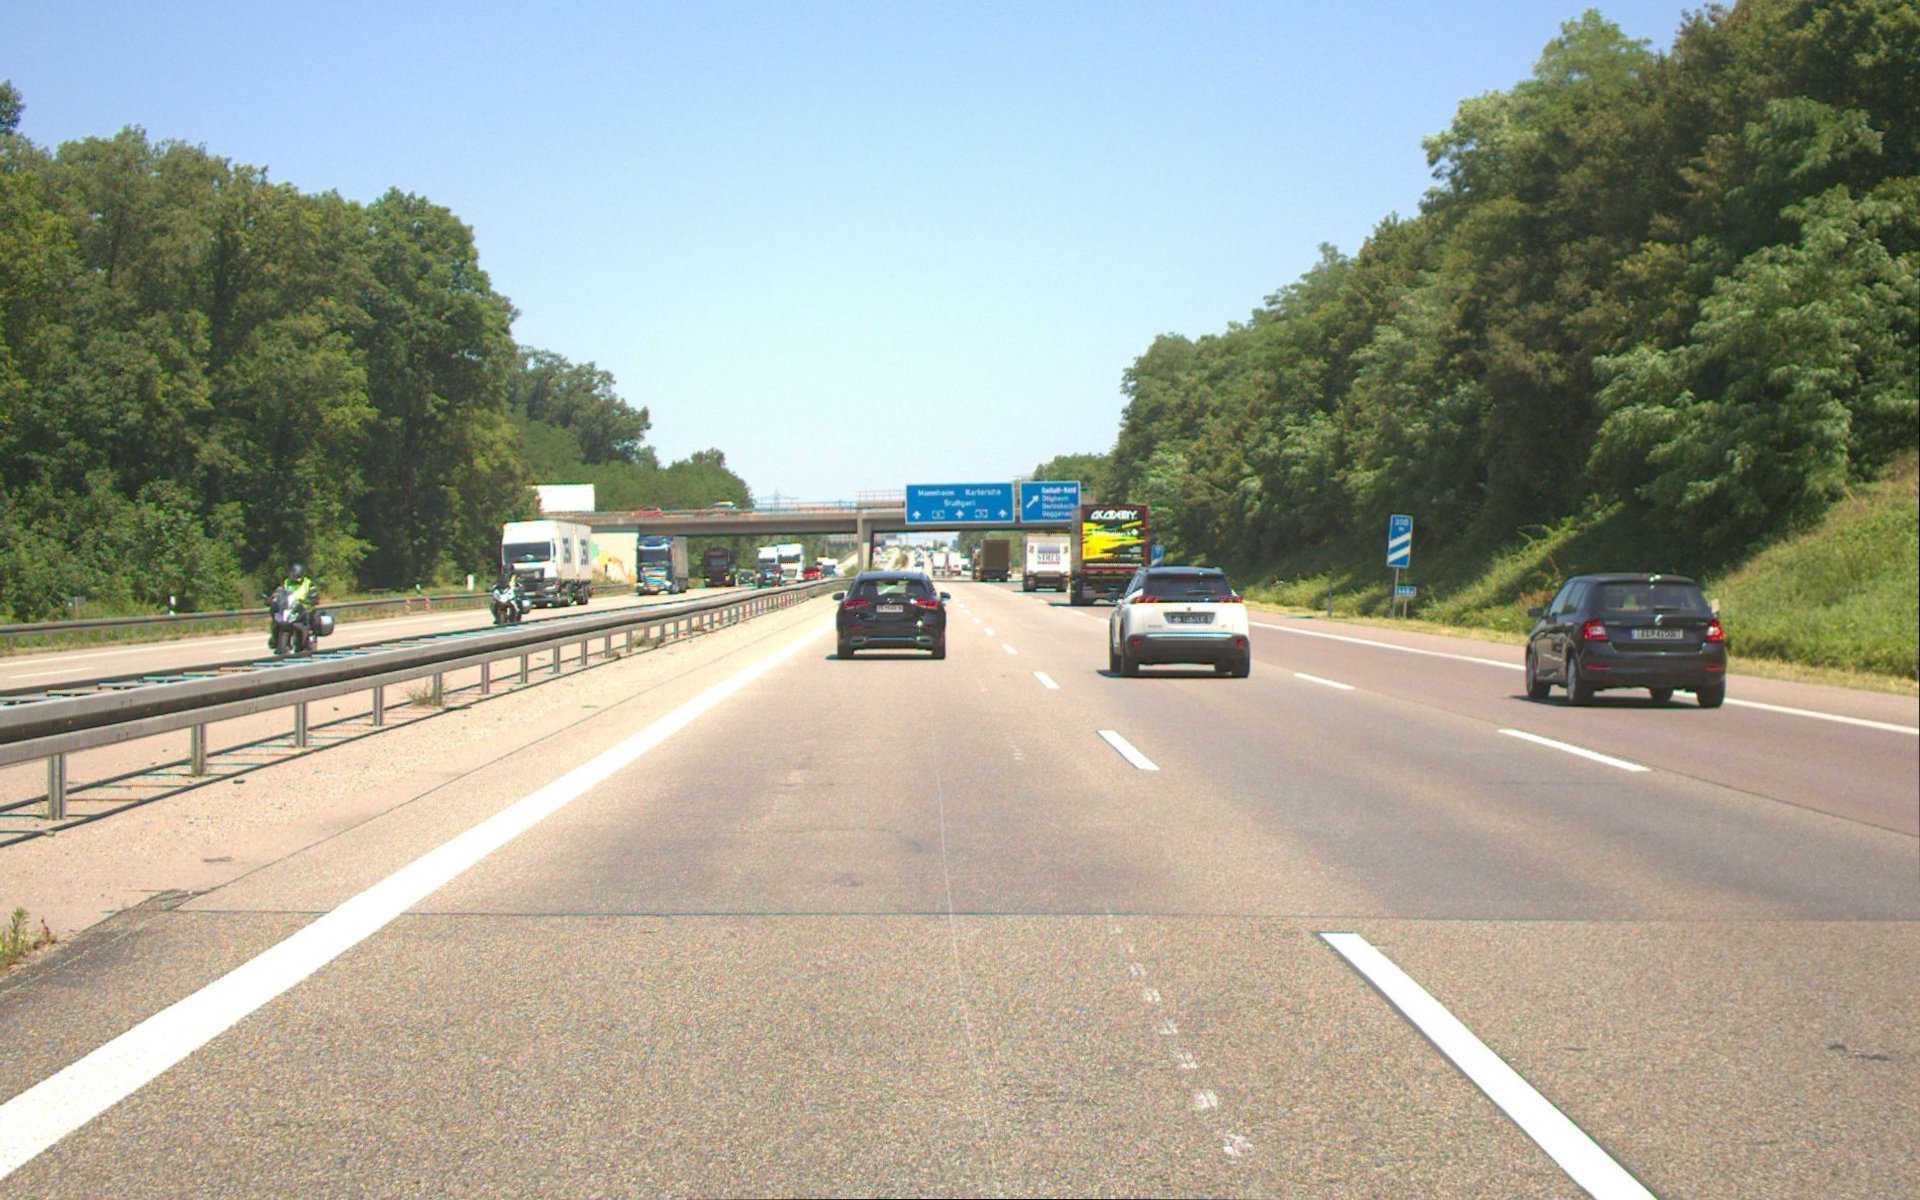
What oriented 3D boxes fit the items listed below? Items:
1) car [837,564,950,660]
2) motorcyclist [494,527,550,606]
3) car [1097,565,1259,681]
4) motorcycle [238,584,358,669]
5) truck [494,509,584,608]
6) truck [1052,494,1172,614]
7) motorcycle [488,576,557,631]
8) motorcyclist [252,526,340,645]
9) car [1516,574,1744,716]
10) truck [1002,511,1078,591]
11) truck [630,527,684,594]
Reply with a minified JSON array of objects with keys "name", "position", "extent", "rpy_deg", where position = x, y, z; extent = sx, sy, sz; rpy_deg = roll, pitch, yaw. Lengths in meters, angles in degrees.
[{"name":"car","position":[-1.126,0.174,57.195],"extent":[1.799,1.497,4.242],"rpy_deg":[0,1,-2]},{"name":"motorcyclist","position":[-10.273,-0.783,80.674],"extent":[1.152,1.809,1.027],"rpy_deg":[-1,0,-1]},{"name":"car","position":[3.029,0.294,48.617],"extent":[1.899,1.527,4.242],"rpy_deg":[0,1,-2]},{"name":"motorcycle","position":[-10.322,0.391,53.785],"extent":[1.153,1.245,3.810],"rpy_deg":[-1,1,-1]},{"name":"truck","position":[-19.975,-2.001,163.814],"extent":[2.956,4.499,12.640],"rpy_deg":[-1,1,-2]},{"name":"truck","position":[6.034,-1.843,139.724],"extent":[3.647,4.574,15.768],"rpy_deg":[1,1,-2]},{"name":"motorcycle","position":[-10.260,0.069,80.765],"extent":[1.153,1.245,3.810],"rpy_deg":[-1,1,-1]},{"name":"motorcyclist","position":[-10.326,-0.232,53.533],"extent":[1.152,1.809,1.027],"rpy_deg":[-1,0,-1]},{"name":"car","position":[7.431,0.461,38.472],"extent":[1.789,1.456,3.949],"rpy_deg":[0,1,0]},{"name":"truck","position":[4.757,-2.953,208.663],"extent":[3.647,4.574,17.249],"rpy_deg":[1,1,-2]},{"name":"truck","position":[-21.284,-2.805,242.289],"extent":[2.956,4.499,12.640],"rpy_deg":[-1,1,-2]}]
